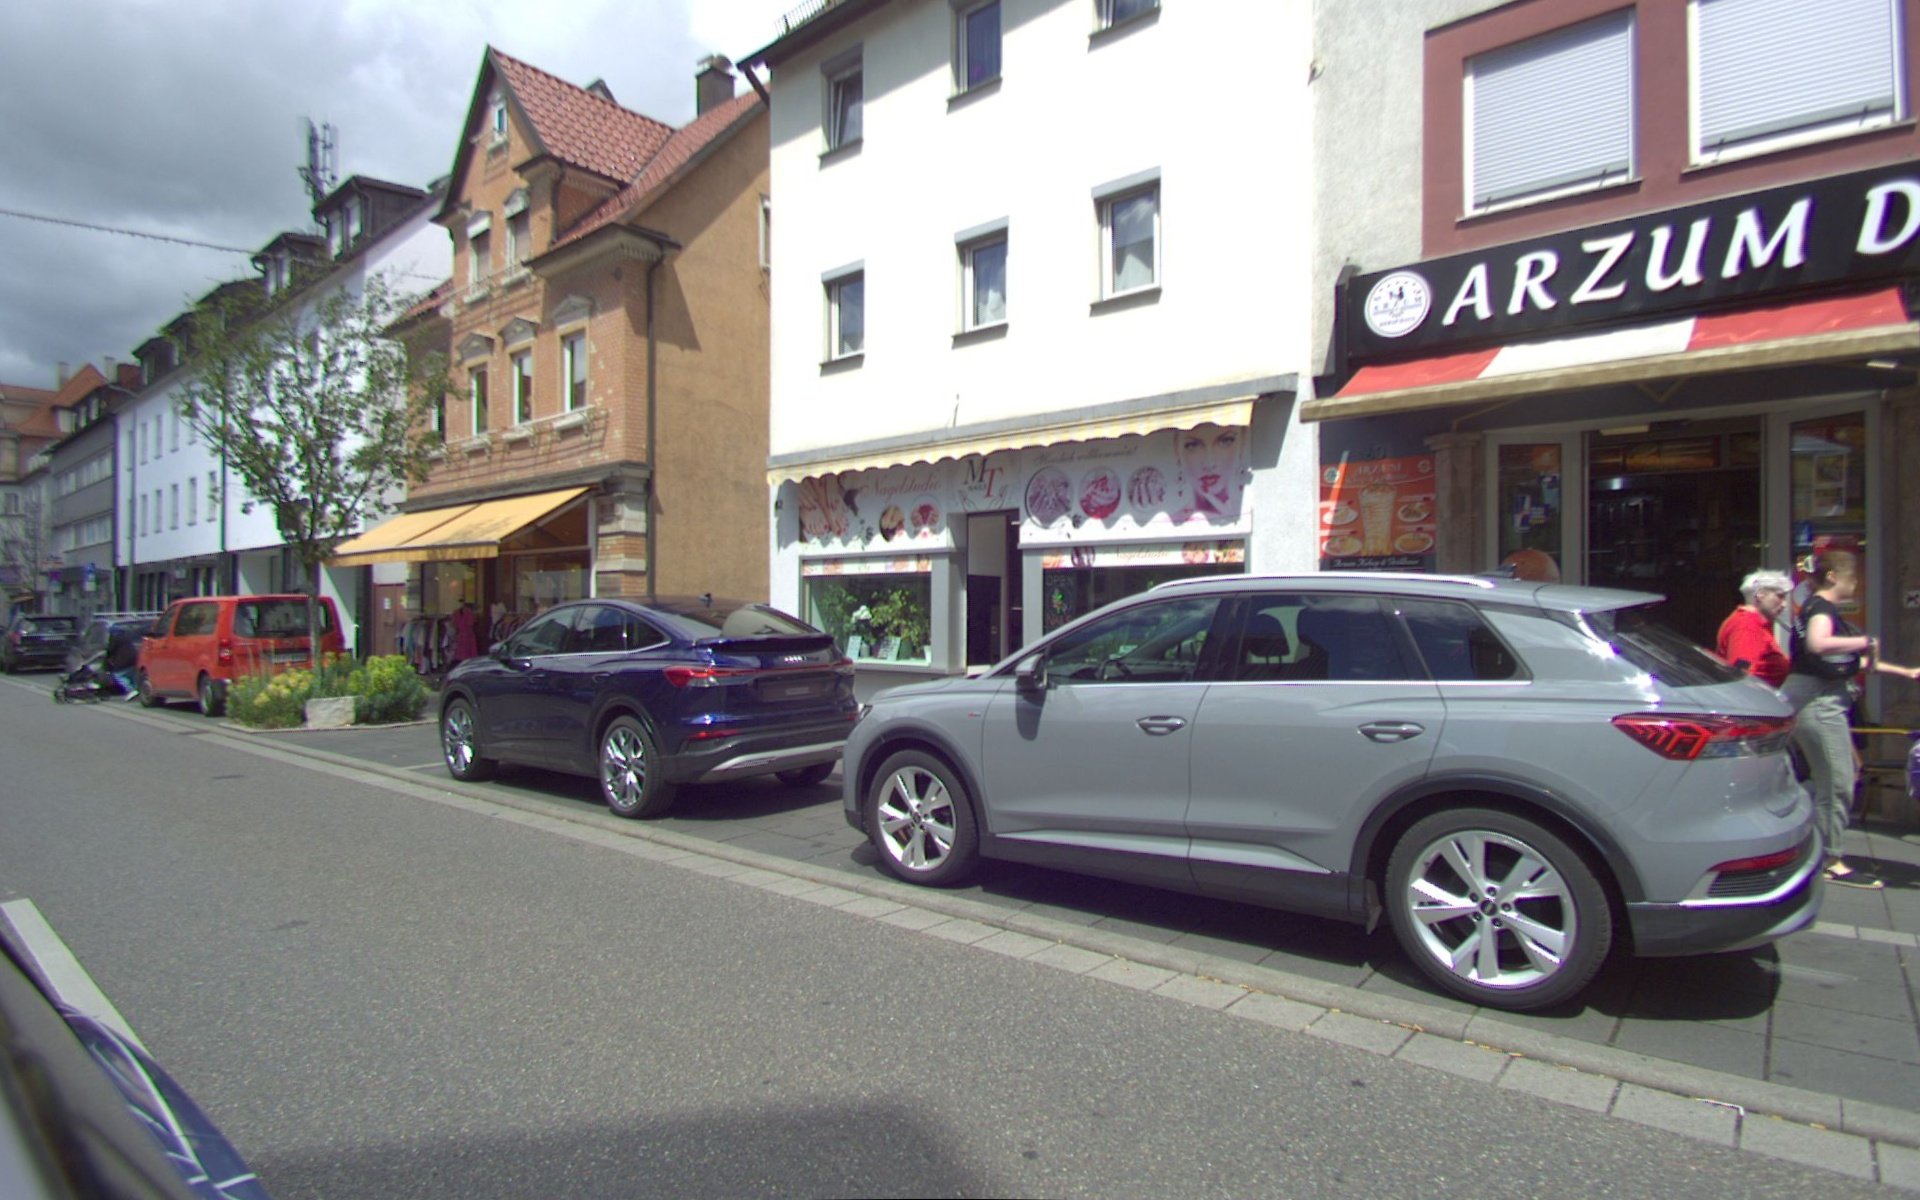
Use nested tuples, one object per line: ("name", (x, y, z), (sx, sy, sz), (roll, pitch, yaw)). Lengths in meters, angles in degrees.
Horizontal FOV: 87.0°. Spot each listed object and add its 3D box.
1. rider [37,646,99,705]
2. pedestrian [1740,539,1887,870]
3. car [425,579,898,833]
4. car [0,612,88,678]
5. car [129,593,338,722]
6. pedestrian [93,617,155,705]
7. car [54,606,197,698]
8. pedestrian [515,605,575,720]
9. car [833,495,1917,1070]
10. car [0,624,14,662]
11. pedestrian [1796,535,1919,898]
("rider", (-16.733, 1.401, 18.985), (0.707, 1.021, 0.795), (0, 0, 43))
("pedestrian", (4.576, 0.524, 5.450), (0.574, 1.660, 0.496), (-1, 0, 40))
("car", (-2.706, 0.714, 8.548), (4.387, 1.610, 1.780), (-1, -1, 41))
("car", (-27.740, 1.288, 30.464), (4.670, 1.768, 1.796), (0, 0, 44))
("car", (-12.502, 0.857, 17.294), (4.838, 1.903, 1.797), (0, 0, 41))
("pedestrian", (-15.809, 1.133, 19.141), (0.779, 1.586, 0.797), (-1, 0, 43))
("car", (-18.318, 1.042, 22.152), (4.463, 1.768, 1.797), (0, 0, 42))
("pedestrian", (-6.173, 0.909, 15.052), (0.661, 1.645, 0.582), (-1, 0, 41))
("car", (1.539, 0.562, 4.927), (4.346, 1.616, 1.782), (-1, -2, 39))
("car", (-40.688, 1.782, 41.882), (4.175, 1.515, 1.772), (-1, 0, 40))
("pedestrian", (4.395, 0.530, 4.932), (0.471, 1.660, 0.509), (-1, 0, 39))
